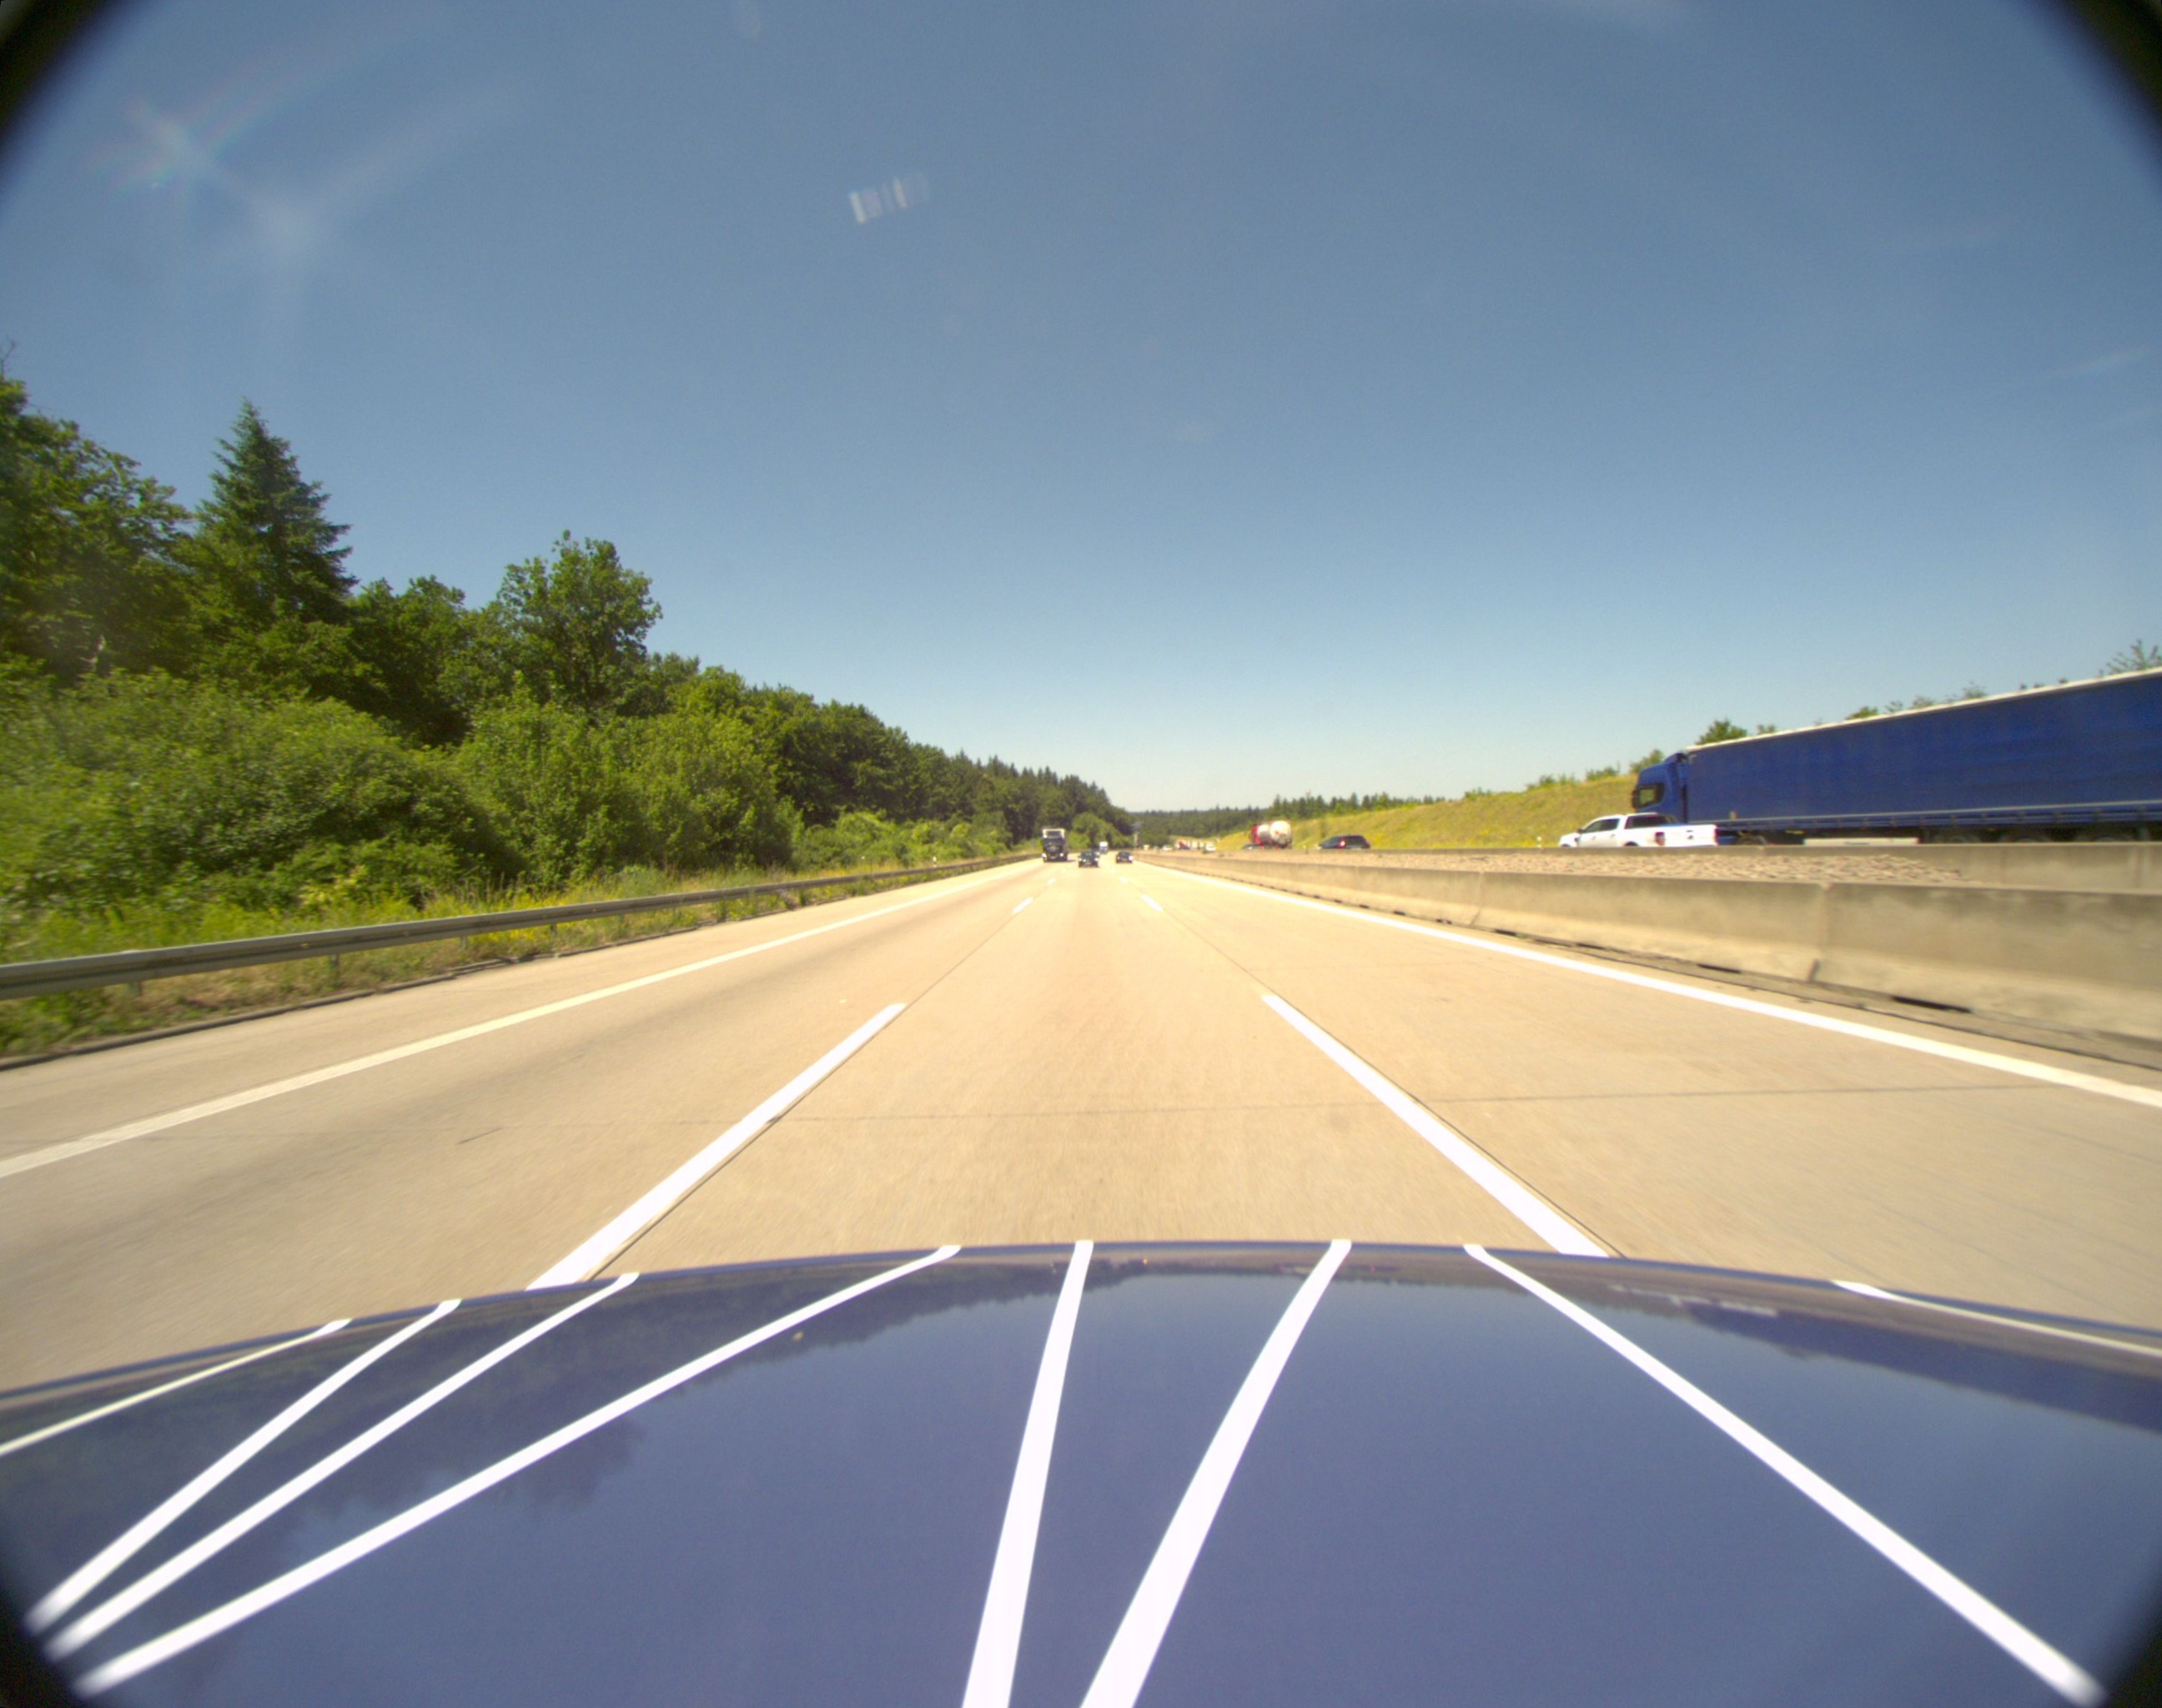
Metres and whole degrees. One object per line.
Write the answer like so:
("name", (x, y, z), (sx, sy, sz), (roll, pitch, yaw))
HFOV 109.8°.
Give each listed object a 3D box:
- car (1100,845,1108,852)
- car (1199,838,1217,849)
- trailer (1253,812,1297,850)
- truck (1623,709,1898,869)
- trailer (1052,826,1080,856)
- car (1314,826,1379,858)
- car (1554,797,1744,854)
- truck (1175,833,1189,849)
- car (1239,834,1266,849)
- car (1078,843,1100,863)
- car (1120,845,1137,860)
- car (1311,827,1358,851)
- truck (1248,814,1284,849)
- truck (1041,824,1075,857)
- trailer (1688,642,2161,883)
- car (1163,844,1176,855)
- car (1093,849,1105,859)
("car", (5.760, -1.397, 189.783), (1.842, 1.547, 4.001), (-2, 1, 4))
("car", (18.993, -1.506, 113.428), (1.998, 1.574, 4.179), (-2, 1, 1))
("trailer", (23.125, -2.692, 91.194), (2.940, 4.145, 9.333), (-2, 1, 1))
("truck", (21.961, -1.925, 25.215), (3.264, 4.479, 6.574), (-2, 1, 1))
("trailer", (-2.038, -1.849, 106.326), (3.141, 3.994, 9.089), (0, 1, 4))
("car", (14.252, -0.636, 41.004), (1.998, 1.574, 4.402), (-2, 1, 1))
("car", (17.821, -0.840, 24.290), (1.998, 1.574, 5.518), (-2, 1, 1))
("truck", (28.500, -3.674, 214.565), (2.921, 4.487, 11.258), (0, 1, 2))
("car", (18.433, -1.358, 81.942), (1.998, 1.574, 4.430), (-2, 1, 1))
("car", (0.787, -0.125, 72.286), (1.930, 1.694, 4.400), (-2, 1, 2))
("car", (5.303, -0.203, 85.535), (1.842, 1.547, 4.000), (-2, 1, 3))
("car", (18.616, -1.085, 55.987), (1.998, 1.574, 4.529), (-2, 1, 1))
("truck", (23.209, -2.760, 95.599), (2.940, 4.145, 5.981), (-2, 1, 1))
("truck", (-2.782, -1.706, 96.504), (3.166, 3.994, 10.609), (0, 1, 4))
("trailer", (21.834, -1.823, 18.518), (3.264, 4.479, 13.737), (-2, 1, 1))
("car", (16.552, -0.830, 142.412), (1.998, 1.862, 4.967), (-2, 1, 1))
("car", (3.168, 0.007, 131.774), (1.998, 1.694, 4.400), (-2, 1, 3))
